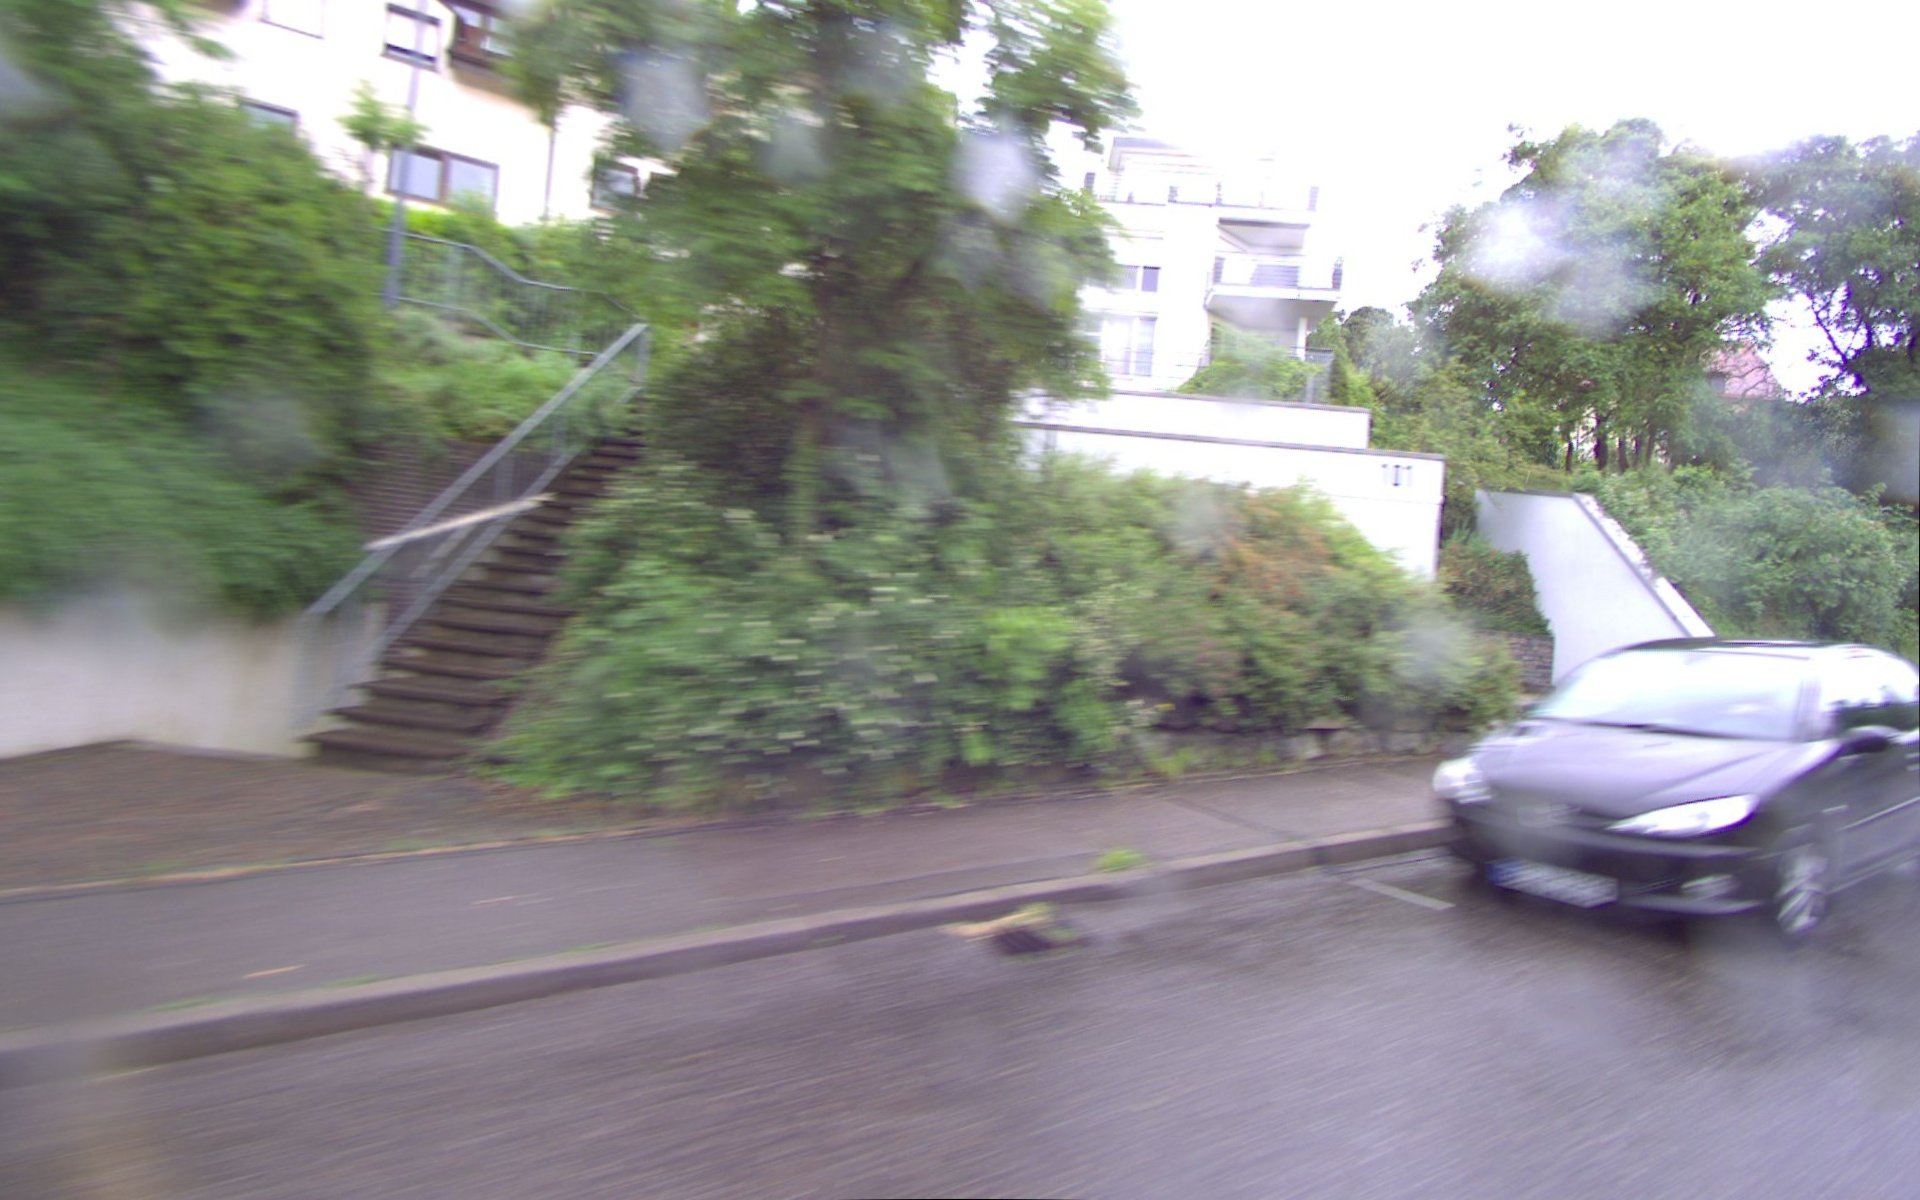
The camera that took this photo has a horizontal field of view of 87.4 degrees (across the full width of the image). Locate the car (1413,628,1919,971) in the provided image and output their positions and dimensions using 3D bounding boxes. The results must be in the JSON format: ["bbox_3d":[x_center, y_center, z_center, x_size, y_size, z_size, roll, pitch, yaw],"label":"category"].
[{"bbox_3d":[4.446,0.901,5.888,3.491,1.403,1.641,2,-1,-33],"label":"car"}]
